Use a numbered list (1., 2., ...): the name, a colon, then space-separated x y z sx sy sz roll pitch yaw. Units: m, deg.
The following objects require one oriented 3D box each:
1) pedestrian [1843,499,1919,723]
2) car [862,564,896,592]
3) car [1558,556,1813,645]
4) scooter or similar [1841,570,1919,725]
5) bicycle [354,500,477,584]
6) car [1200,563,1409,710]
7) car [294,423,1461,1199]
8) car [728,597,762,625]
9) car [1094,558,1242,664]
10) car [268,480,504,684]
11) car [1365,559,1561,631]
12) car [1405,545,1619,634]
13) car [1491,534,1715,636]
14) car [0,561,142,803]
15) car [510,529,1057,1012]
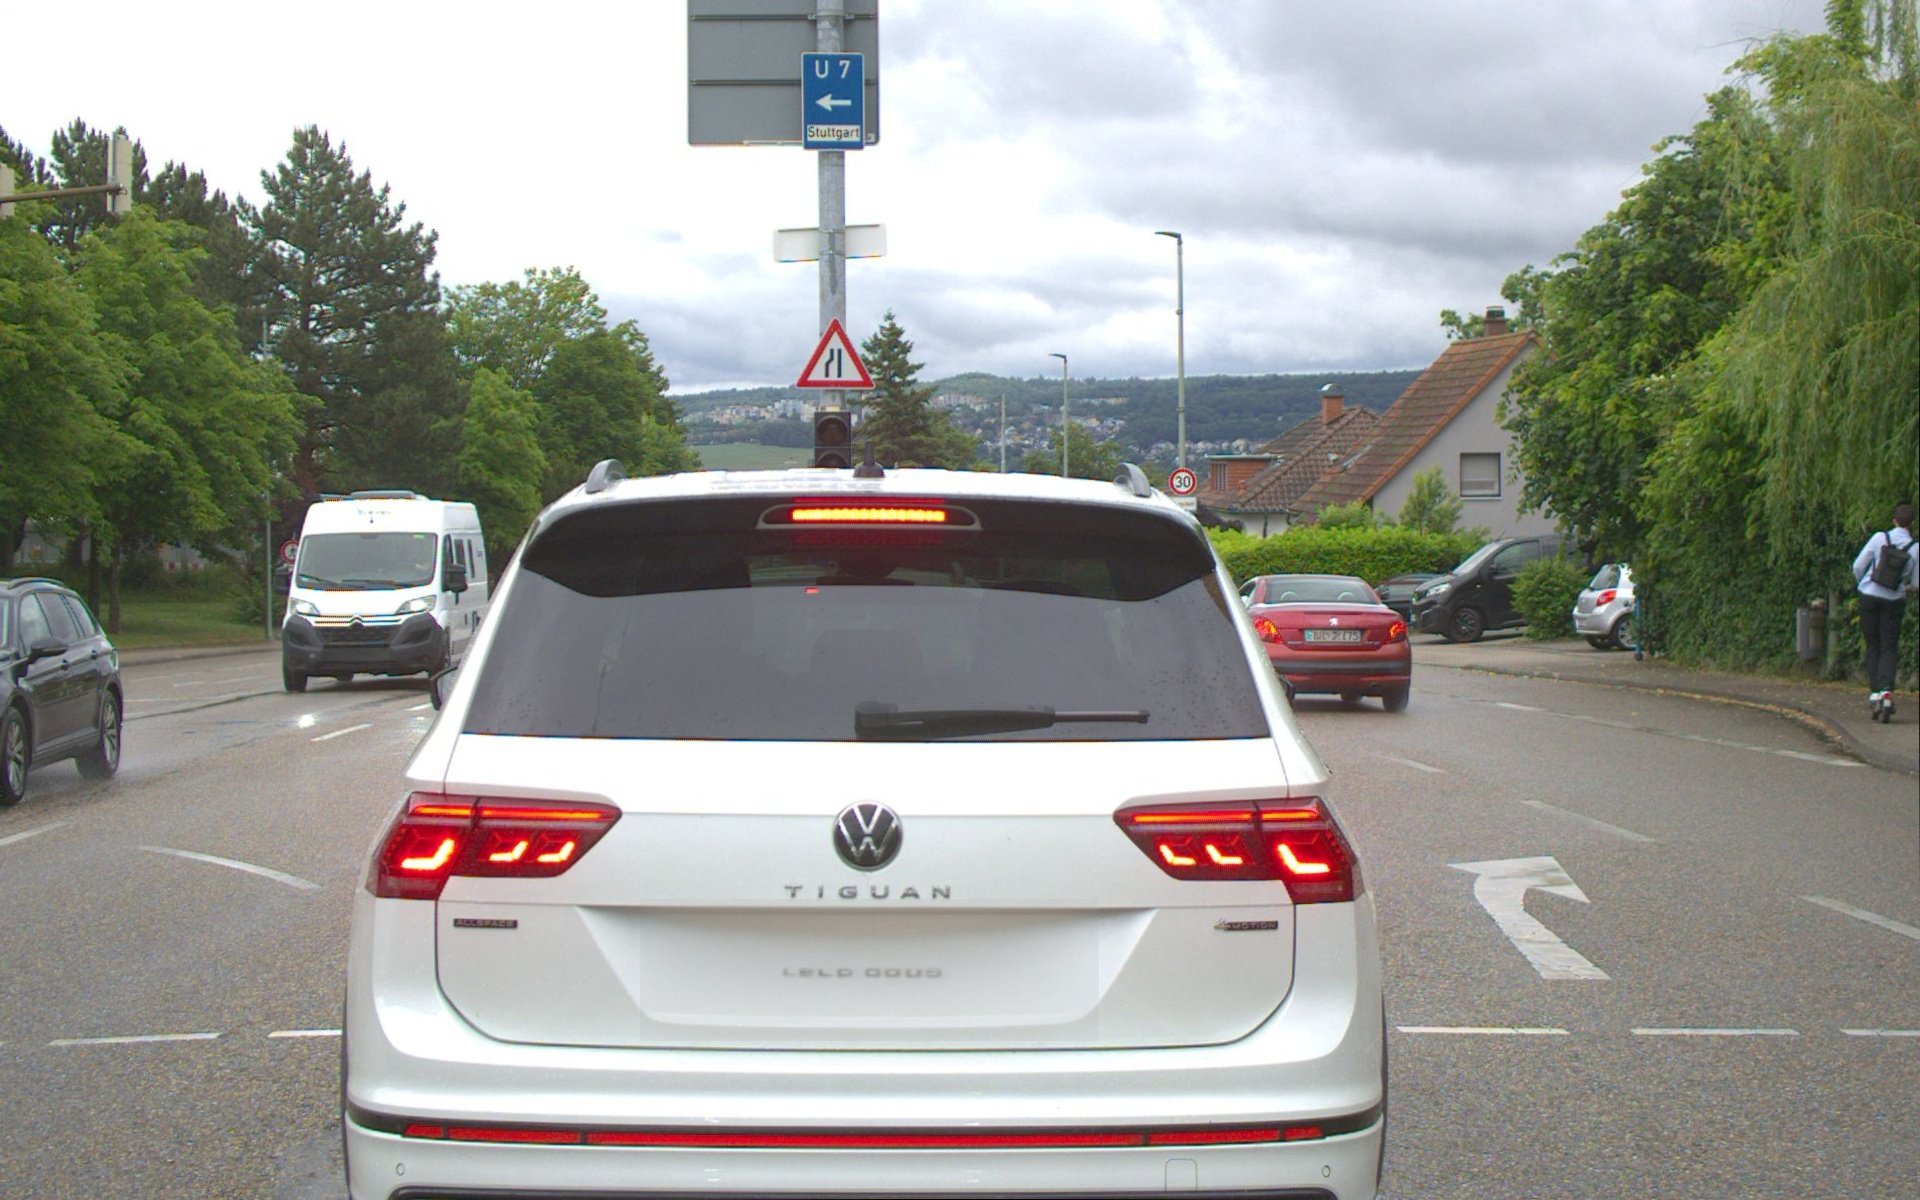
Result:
1. pedestrian: 8.413 0.092 31.060 0.655 1.995 0.718 0 1 -4
2. car: -4.724 -1.268 200.897 1.850 1.569 4.000 -1 1 0
3. car: 11.905 0.012 56.503 3.713 1.390 1.729 -1 0 -7
4. scooter or similar: 8.389 0.414 30.992 0.461 1.356 1.385 0 1 -4
5. bicycle: -7.721 -0.826 48.787 1.636 1.122 0.468 -2 2 -2
6. car: 3.571 0.346 36.193 1.625 1.398 3.690 1 1 -3
7. car: -0.179 0.540 7.364 1.763 1.690 4.273 1 1 -1
8. car: -14.095 0.711 225.408 1.993 1.722 4.000 2 0 -1
9. car: 3.012 0.129 50.570 1.664 1.422 4.306 1 1 -3
10. car: -7.528 -0.281 45.678 2.297 2.519 5.774 0 1 -2
11. car: 10.098 -0.093 69.117 3.687 1.365 1.519 1 -1 -2
12. car: 10.302 -0.206 64.286 3.627 1.620 1.791 0 1 -4
13. car: 11.534 -0.286 61.804 3.627 1.740 1.708 0 2 -4
14. car: -6.953 0.509 23.423 1.775 1.497 4.472 -1 1 -2
15. car: -0.593 0.534 13.364 1.798 1.584 3.926 1 1 0
